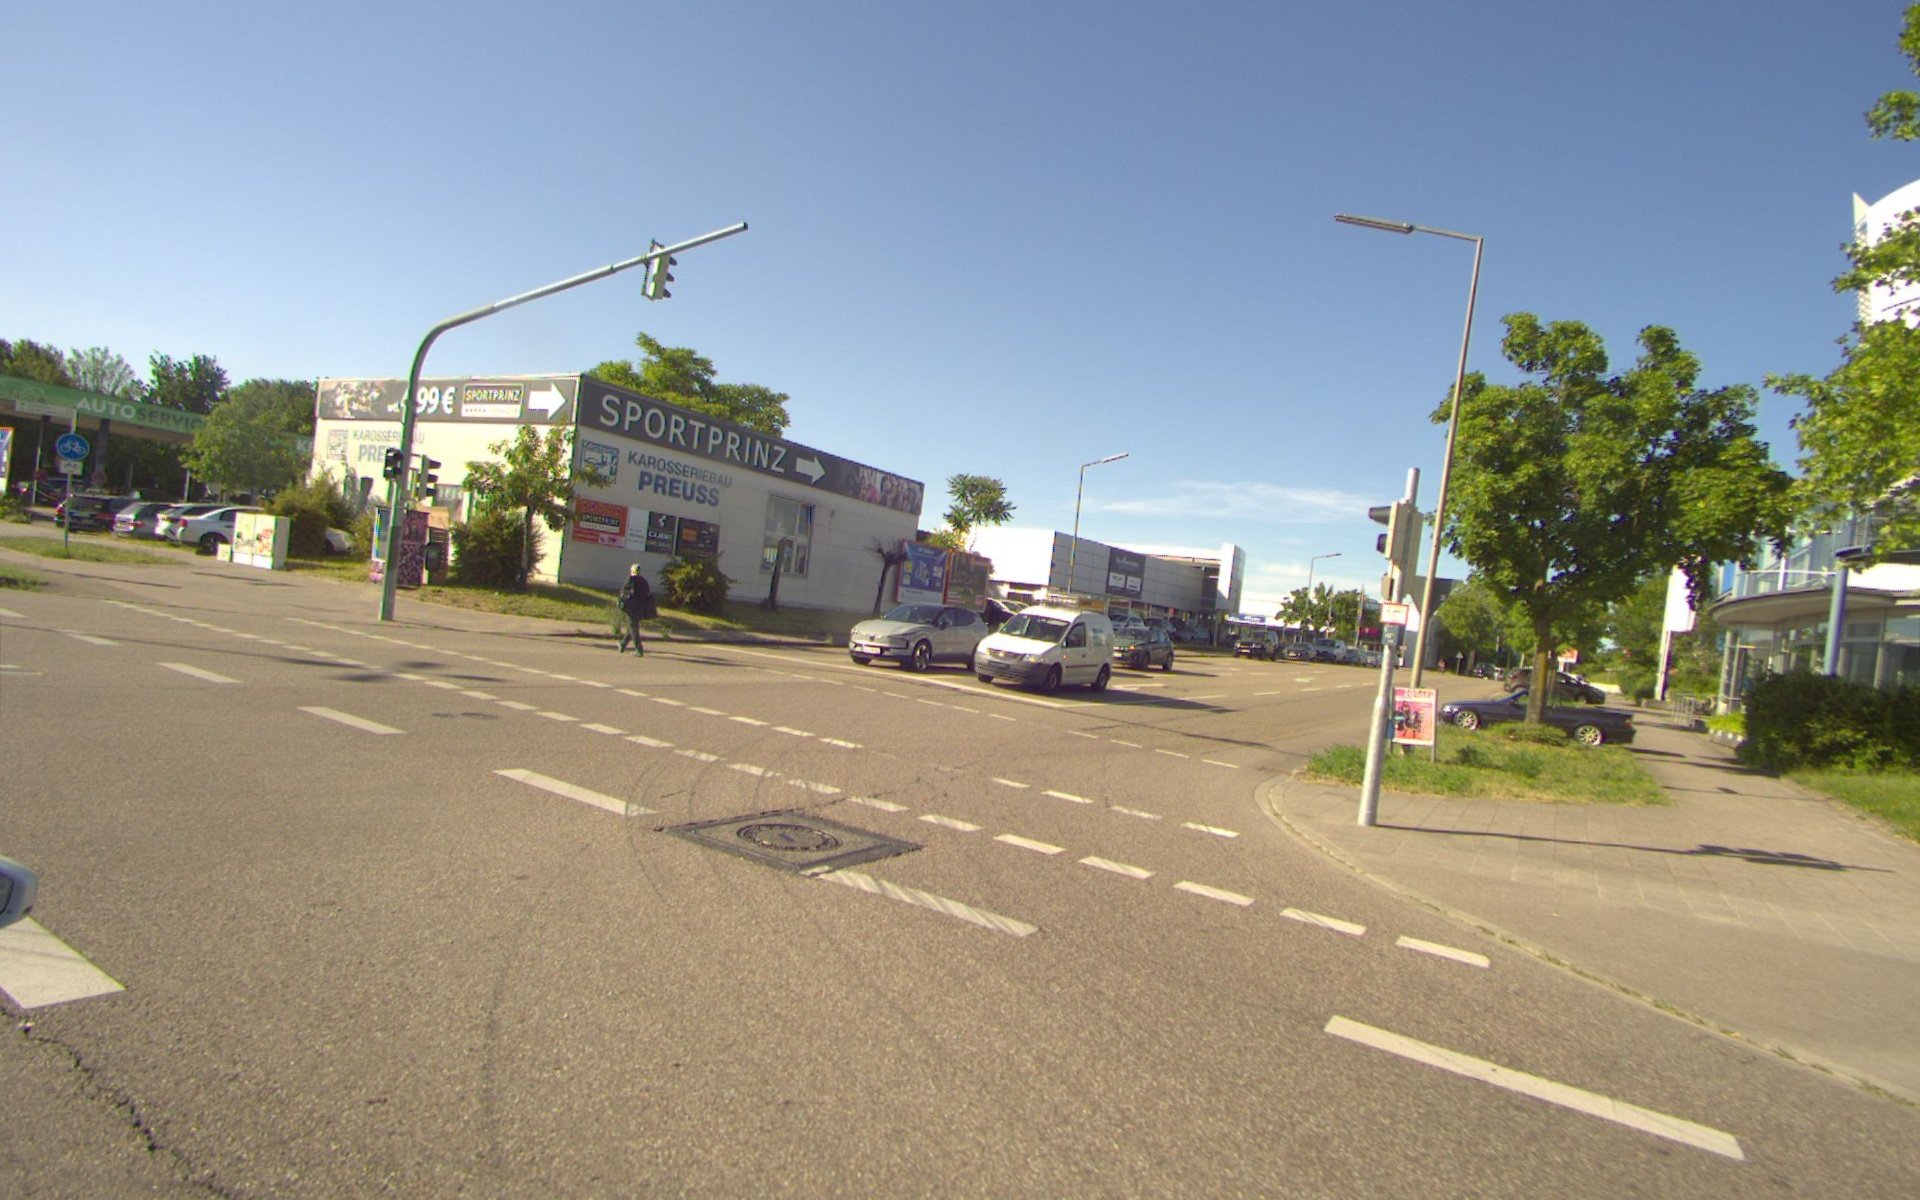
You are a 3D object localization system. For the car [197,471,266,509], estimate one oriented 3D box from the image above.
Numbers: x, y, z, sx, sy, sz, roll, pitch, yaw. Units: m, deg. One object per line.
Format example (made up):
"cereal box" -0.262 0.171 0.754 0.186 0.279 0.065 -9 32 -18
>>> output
"car" -42.217 -6.358 58.252 3.716 1.777 1.920 6 0 33

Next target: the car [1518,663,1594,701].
"car" 41.168 5.654 69.597 4.289 2.044 1.719 7 0 31

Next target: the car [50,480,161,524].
"car" -45.648 -5.217 53.817 3.930 1.503 2.000 8 -2 -5

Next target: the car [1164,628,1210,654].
"car" 16.686 3.026 73.844 1.754 1.379 3.991 6 -2 36

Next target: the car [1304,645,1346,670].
"car" 29.161 4.575 80.371 1.970 1.618 3.986 7 0 37

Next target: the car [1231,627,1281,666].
"car" 18.849 2.962 63.981 1.711 1.991 3.992 7 -2 35

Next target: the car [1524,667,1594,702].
"car" 44.808 6.332 75.357 4.289 2.007 1.719 6 -1 31

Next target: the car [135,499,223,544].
"car" -37.966 -3.819 48.872 3.934 1.666 1.998 6 -2 31

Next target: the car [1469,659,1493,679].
"car" 63.873 8.430 123.398 1.679 2.036 3.987 6 -2 39

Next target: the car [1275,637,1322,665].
"car" 24.849 3.763 73.705 1.970 1.663 3.985 6 0 37

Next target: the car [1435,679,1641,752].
"car" 14.488 2.860 25.427 4.288 1.137 1.720 6 -1 30

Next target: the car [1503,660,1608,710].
"car" 29.784 4.239 50.455 4.289 1.858 1.719 6 -1 31

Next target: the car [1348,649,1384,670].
"car" 37.303 5.483 92.382 1.970 1.618 3.985 6 0 37

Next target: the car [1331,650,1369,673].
"car" 33.948 5.365 87.576 1.970 1.618 3.986 7 0 37

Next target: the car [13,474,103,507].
"car" -58.629 -7.113 65.443 1.706 1.551 4.038 7 1 33

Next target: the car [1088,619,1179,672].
"car" 6.282 1.665 36.151 1.779 1.609 3.922 5 -1 32

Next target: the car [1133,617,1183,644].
"car" 13.694 2.125 69.545 1.754 1.379 3.991 6 -2 36

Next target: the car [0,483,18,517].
"car" -48.781 -5.156 50.023 4.179 1.592 1.746 7 0 33

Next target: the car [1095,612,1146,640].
"car" 10.485 1.730 65.649 1.778 1.401 3.923 6 -1 32

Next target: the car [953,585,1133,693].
"car" 1.963 0.938 22.209 1.841 1.957 4.687 7 -1 32

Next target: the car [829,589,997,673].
"car" -1.018 0.788 23.811 1.871 1.665 4.094 5 -1 32

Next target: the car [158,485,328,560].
"car" -21.760 -2.362 30.744 3.945 2.044 1.673 0 7 -26

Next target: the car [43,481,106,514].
"car" -55.817 -6.473 63.397 4.067 1.625 1.717 6 -2 32

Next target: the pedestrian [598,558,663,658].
"pedestrian" -6.089 0.155 18.612 0.607 1.737 0.758 7 1 31

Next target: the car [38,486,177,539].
"car" -30.750 -3.112 36.497 1.870 1.551 4.818 5 2 -15

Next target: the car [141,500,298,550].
"car" -24.256 -2.439 33.065 1.701 1.474 3.902 7 7 42

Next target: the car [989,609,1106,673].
"car" 2.674 1.264 30.051 1.779 1.609 3.922 5 -1 32

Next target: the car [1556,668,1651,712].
"car" 36.529 5.078 57.236 4.289 1.859 1.719 7 0 31

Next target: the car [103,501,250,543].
"car" -26.897 -2.661 34.636 1.811 1.310 3.599 6 6 33
